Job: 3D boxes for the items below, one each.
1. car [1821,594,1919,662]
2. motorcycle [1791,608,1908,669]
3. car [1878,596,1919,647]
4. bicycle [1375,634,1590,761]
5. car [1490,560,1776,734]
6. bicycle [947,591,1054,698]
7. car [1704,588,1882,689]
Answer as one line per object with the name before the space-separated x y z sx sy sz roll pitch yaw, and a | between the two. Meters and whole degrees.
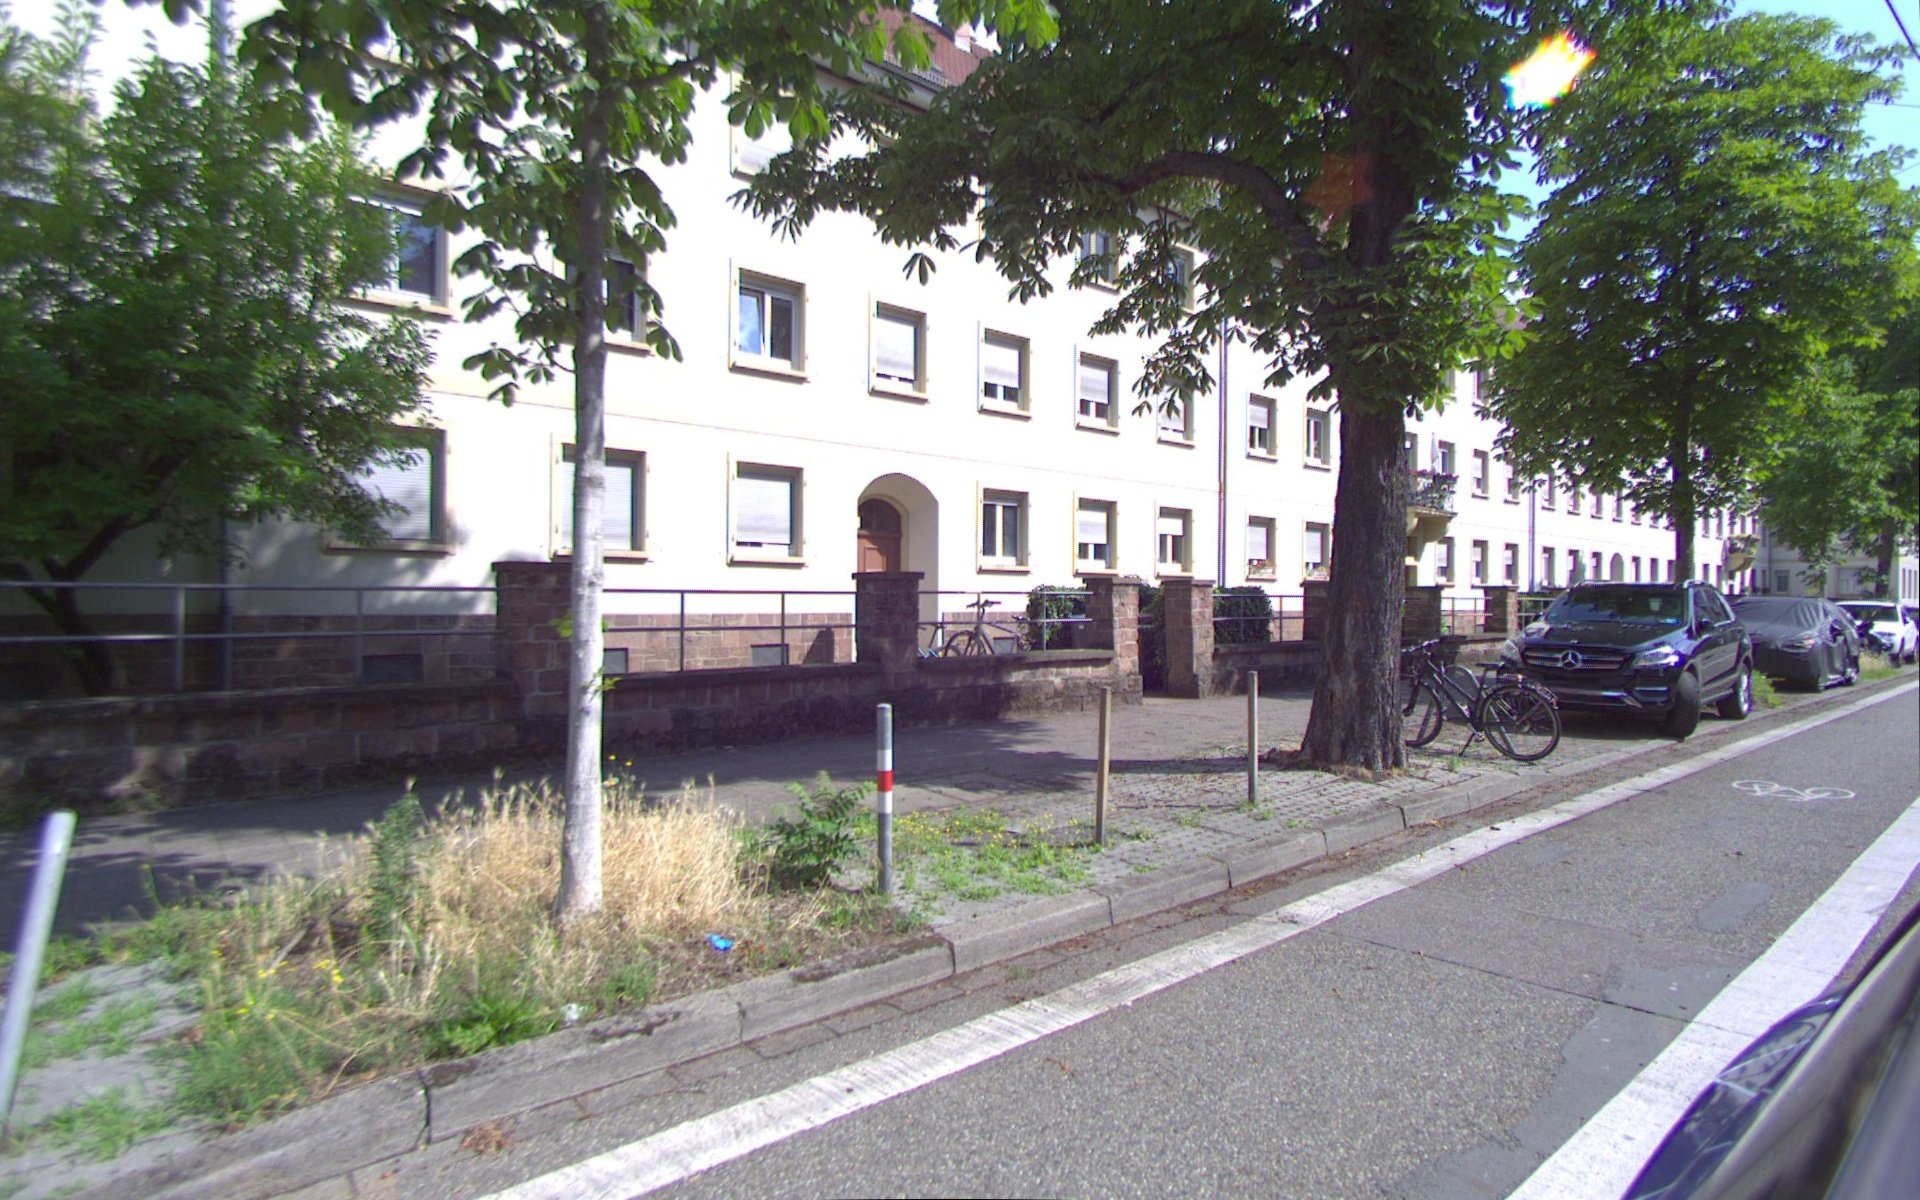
car | 23.619 0.657 25.968 4.175 1.601 1.744 0 0 -42
motorcycle | 20.756 0.866 23.643 0.735 1.354 2.008 0 0 -44
car | 30.298 0.649 31.846 4.213 1.540 1.663 0 0 -42
bicycle | 4.923 0.876 9.624 0.626 1.020 1.712 0 0 -39
car | 8.554 0.485 12.685 4.650 1.805 1.830 0 0 -41
bicycle | 0.512 0.516 12.446 1.431 1.260 0.305 0 0 -36
car | 15.685 0.632 18.966 4.556 1.674 1.866 0 0 -41
